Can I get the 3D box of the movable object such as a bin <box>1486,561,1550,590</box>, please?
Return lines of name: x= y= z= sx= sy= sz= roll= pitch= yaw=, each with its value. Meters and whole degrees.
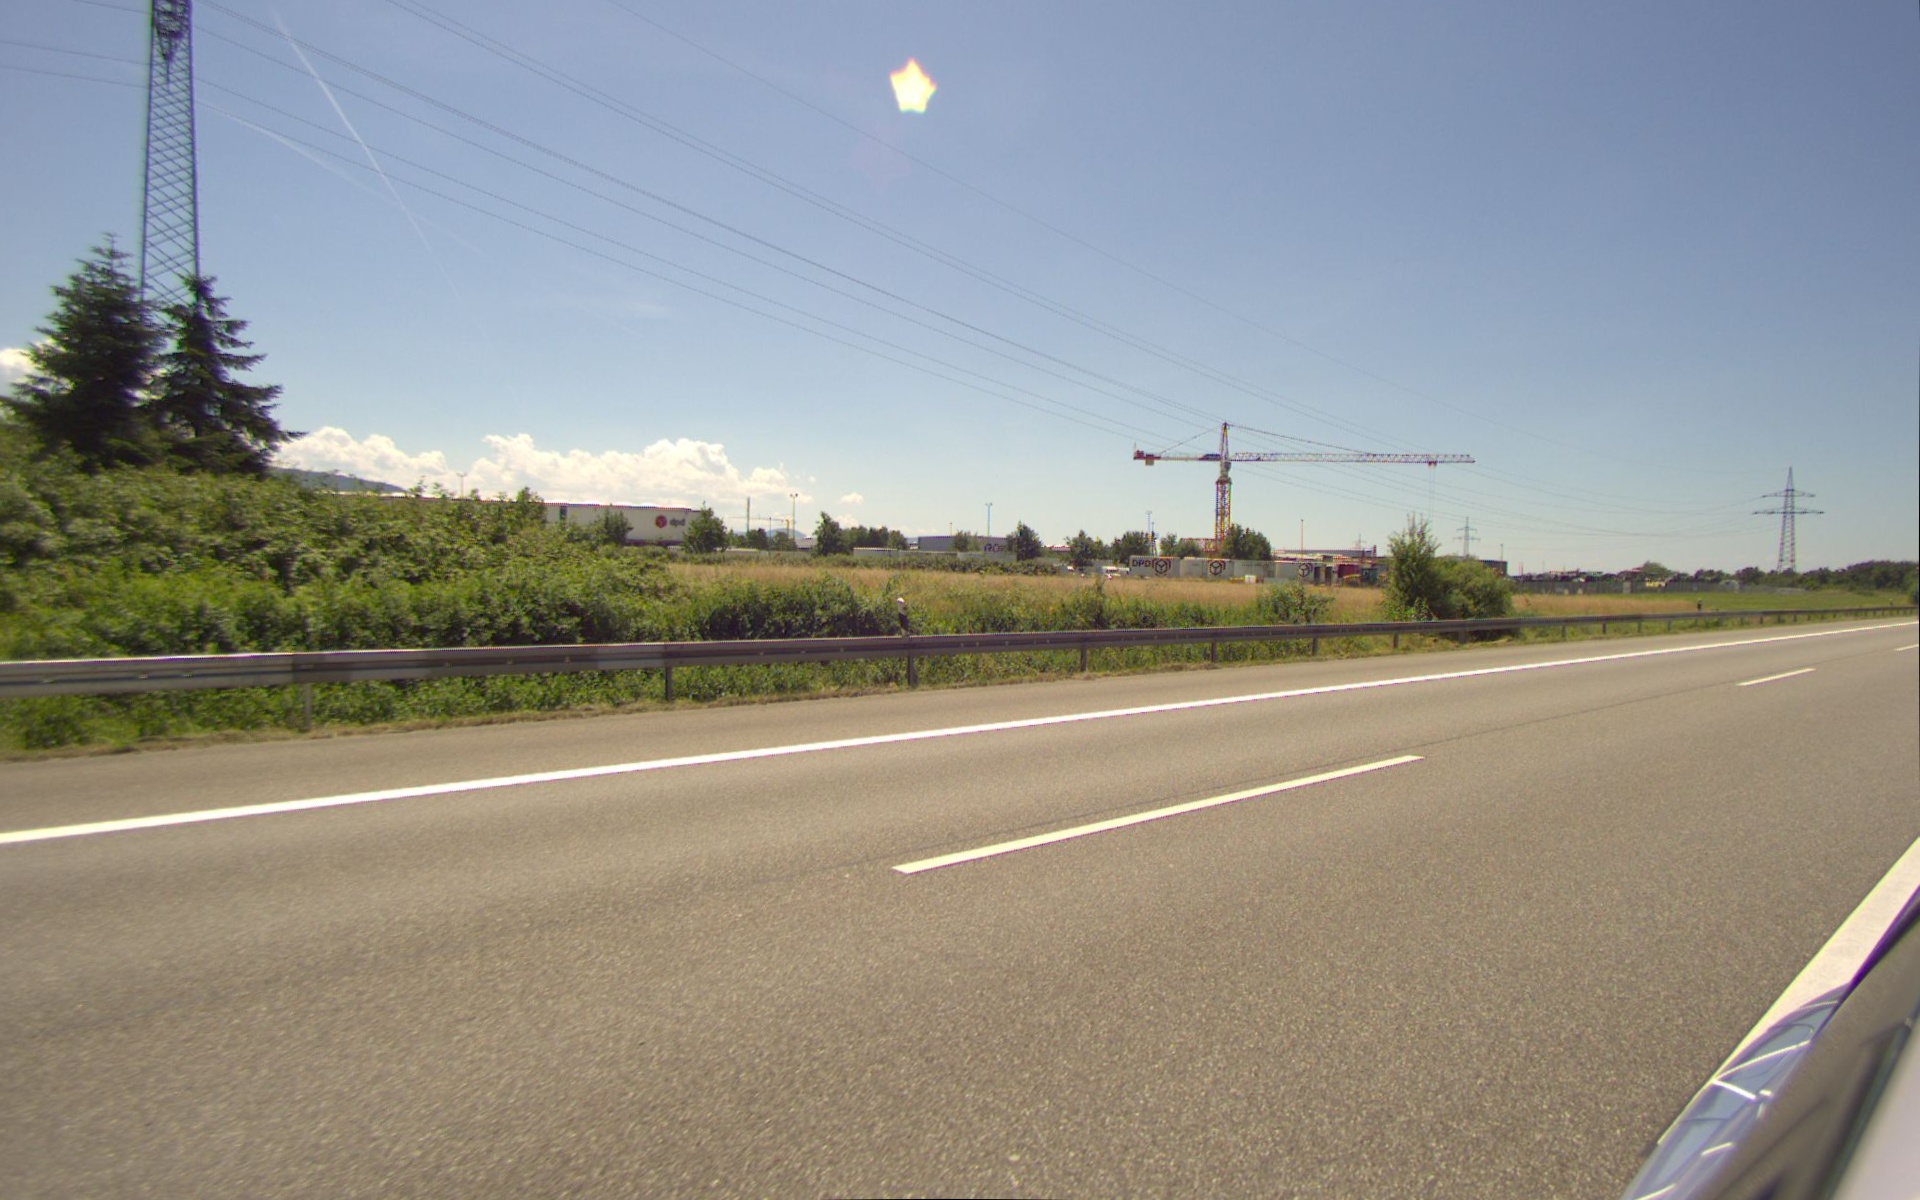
movable object such as a bin: x=83.485 y=-3.554 z=151.649 sx=3.366 sy=4.103 sz=9.401 roll=0 pitch=0 yaw=-9

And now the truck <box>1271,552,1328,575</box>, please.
truck: x=54.725 y=-5.840 z=163.251 sx=8.145 sy=3.454 sz=2.794 roll=4 pitch=3 yaw=43

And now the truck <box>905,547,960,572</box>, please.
truck: x=-3.962 y=-5.757 z=143.249 sx=8.146 sy=3.454 sz=2.786 roll=4 pitch=3 yaw=43

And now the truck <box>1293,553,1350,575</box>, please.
truck: x=58.742 y=-5.881 z=164.646 sx=8.135 sy=3.454 sz=2.797 roll=3 pitch=3 yaw=39

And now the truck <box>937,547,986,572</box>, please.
truck: x=0.152 y=-5.797 z=144.287 sx=2.776 sy=3.454 sz=8.175 roll=0 pitch=3 yaw=-36

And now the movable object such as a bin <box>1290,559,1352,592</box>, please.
movable object such as a bin: x=54.389 y=-3.657 z=152.782 sx=3.227 sy=4.709 sz=8.848 roll=0 pitch=0 yaw=-30

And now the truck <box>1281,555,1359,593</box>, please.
truck: x=47.831 y=-3.404 z=134.054 sx=13.883 sy=4.832 sz=3.050 roll=-1 pitch=0 yaw=-40

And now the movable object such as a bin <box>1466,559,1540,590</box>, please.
movable object such as a bin: x=72.534 y=-3.315 z=135.273 sx=3.080 sy=4.001 sz=8.112 roll=0 pitch=0 yaw=-38

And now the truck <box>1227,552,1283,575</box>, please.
truck: x=46.643 y=-5.756 z=160.127 sx=8.120 sy=3.454 sz=2.802 roll=3 pitch=2 yaw=35

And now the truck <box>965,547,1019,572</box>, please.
truck: x=4.573 y=-5.843 z=145.919 sx=8.151 sy=3.454 sz=2.713 roll=4 pitch=3 yaw=44

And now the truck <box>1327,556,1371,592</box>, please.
truck: x=53.304 y=-3.474 z=138.605 sx=5.876 sy=4.833 sz=3.050 roll=0 pitch=0 yaw=-40

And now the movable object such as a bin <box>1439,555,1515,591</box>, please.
movable object such as a bin: x=66.531 y=-3.390 z=130.326 sx=3.239 sy=4.351 sz=8.112 roll=0 pitch=0 yaw=-38

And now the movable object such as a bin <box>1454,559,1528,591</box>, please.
movable object such as a bin: x=69.552 y=-3.277 z=132.767 sx=3.080 sy=4.001 sz=8.112 roll=0 pitch=0 yaw=-38

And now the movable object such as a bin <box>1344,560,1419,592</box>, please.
movable object such as a bin: x=48.628 y=-2.769 z=116.968 sx=2.829 sy=3.507 sz=7.583 roll=0 pitch=0 yaw=-38

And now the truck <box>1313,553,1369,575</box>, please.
truck: x=62.431 y=-5.918 z=165.863 sx=8.130 sy=3.454 sz=2.799 roll=3 pitch=3 yaw=38

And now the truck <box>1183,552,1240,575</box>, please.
truck: x=39.154 y=-5.679 z=157.559 sx=8.120 sy=3.454 sz=2.802 roll=3 pitch=2 yaw=35

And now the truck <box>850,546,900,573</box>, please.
truck: x=-11.911 y=-5.678 z=140.917 sx=2.779 sy=3.454 sz=8.167 roll=0 pitch=3 yaw=-39

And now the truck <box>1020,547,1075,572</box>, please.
truck: x=12.725 y=-5.904 z=147.635 sx=8.151 sy=3.454 sz=2.713 roll=4 pitch=3 yaw=44

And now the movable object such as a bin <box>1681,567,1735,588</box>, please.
movable object such as a bin: x=147.645 y=-4.311 z=199.927 sx=2.829 sy=3.988 sz=8.112 roll=0 pitch=0 yaw=-38

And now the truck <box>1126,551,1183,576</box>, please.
truck: x=29.662 y=-5.584 z=154.647 sx=8.120 sy=3.454 sz=2.497 roll=3 pitch=2 yaw=35

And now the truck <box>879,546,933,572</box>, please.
truck: x=-7.641 y=-5.719 z=141.844 sx=2.783 sy=3.454 sz=8.154 roll=0 pitch=3 yaw=-44

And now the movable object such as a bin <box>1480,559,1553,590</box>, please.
movable object such as a bin: x=75.605 y=-3.353 z=137.604 sx=3.080 sy=4.001 sz=8.112 roll=0 pitch=0 yaw=-38

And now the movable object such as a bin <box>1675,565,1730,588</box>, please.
movable object such as a bin: x=144.873 y=-4.504 z=197.555 sx=2.829 sy=4.429 sz=8.112 roll=0 pitch=0 yaw=-38

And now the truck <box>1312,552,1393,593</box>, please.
truck: x=49.601 y=-3.384 z=127.442 sx=14.069 sy=4.832 sz=3.050 roll=-1 pitch=0 yaw=-40

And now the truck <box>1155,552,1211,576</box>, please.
truck: x=34.366 y=-5.632 z=156.175 sx=8.120 sy=3.454 sz=2.604 roll=3 pitch=2 yaw=35

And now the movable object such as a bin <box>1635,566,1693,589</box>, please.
movable object such as a bin: x=126.589 y=-4.072 z=182.116 sx=2.829 sy=3.955 sz=8.112 roll=0 pitch=0 yaw=-38

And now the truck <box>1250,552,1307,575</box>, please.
truck: x=50.830 y=-5.798 z=161.566 sx=8.120 sy=3.454 sz=2.802 roll=3 pitch=2 yaw=35
